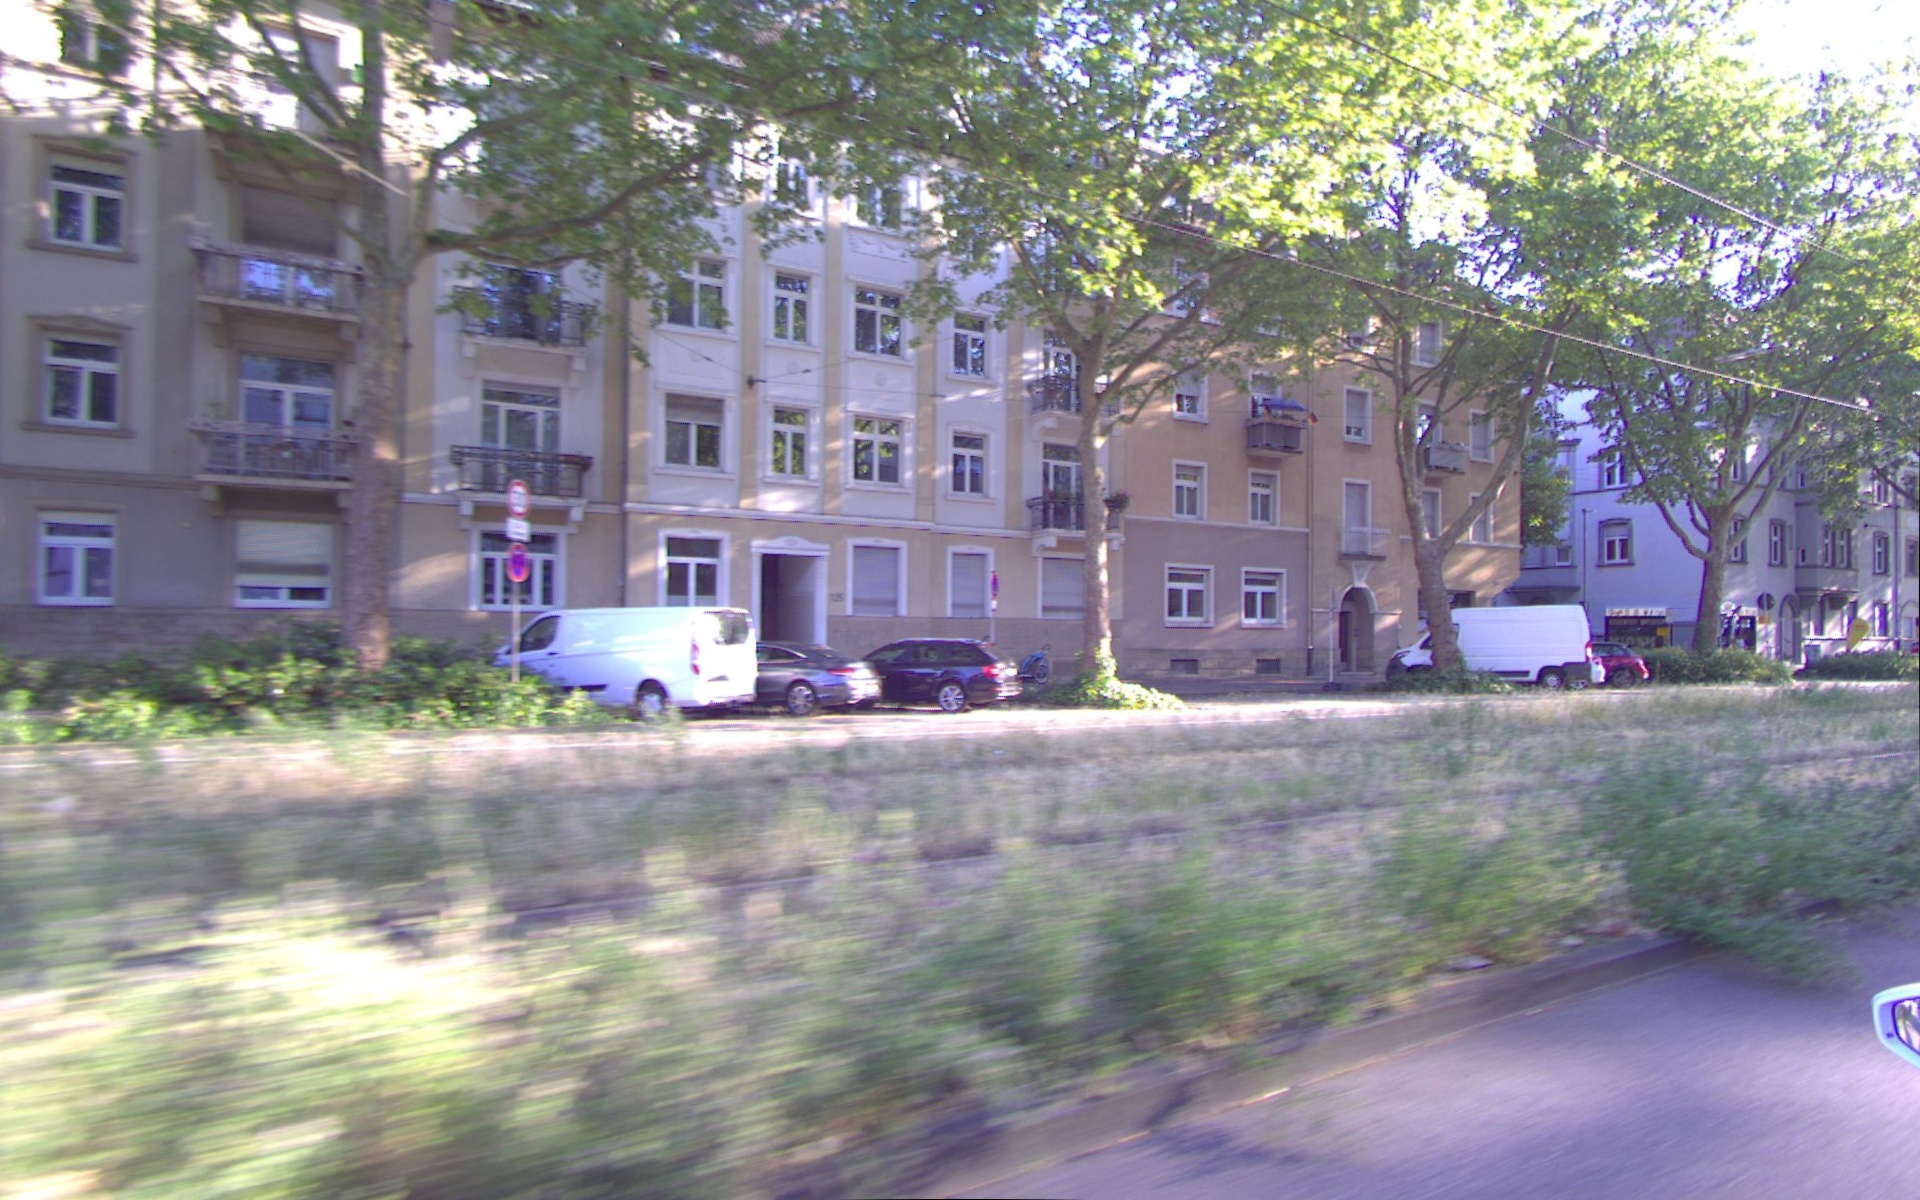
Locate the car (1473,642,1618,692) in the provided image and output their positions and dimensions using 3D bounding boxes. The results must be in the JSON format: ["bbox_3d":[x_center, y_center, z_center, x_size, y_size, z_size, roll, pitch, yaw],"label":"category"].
[{"bbox_3d":[18.139,2.058,31.307,3.637,1.418,1.736,0,-2,20],"label":"car"}]

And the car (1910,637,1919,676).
[{"bbox_3d":[49.233,2.812,48.859,3.924,1.906,1.999,0,-2,25],"label":"car"}]

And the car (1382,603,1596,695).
[{"bbox_3d":[15.625,1.394,30.038,5.400,2.562,2.126,0,-1,20],"label":"car"}]

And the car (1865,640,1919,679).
[{"bbox_3d":[44.099,2.742,45.724,3.923,1.746,1.784,0,-2,24],"label":"car"}]

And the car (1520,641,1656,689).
[{"bbox_3d":[20.465,2.111,32.887,3.644,1.485,1.733,-2,-3,31],"label":"car"}]

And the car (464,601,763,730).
[{"bbox_3d":[-6.257,1.102,18.128,5.143,2.093,1.722,0,-1,20],"label":"car"}]

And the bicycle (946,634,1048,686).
[{"bbox_3d":[1.078,1.682,28.540,2.924,1.409,0.739,1,-2,-28],"label":"bicycle"}]

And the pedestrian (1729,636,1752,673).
[{"bbox_3d":[38.100,2.658,49.018,0.663,1.782,0.626,1,-2,-23],"label":"pedestrian"}]

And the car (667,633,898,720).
[{"bbox_3d":[-3.438,1.427,19.534,4.094,1.511,1.722,0,-2,20],"label":"car"}]

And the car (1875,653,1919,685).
[{"bbox_3d":[46.032,3.302,47.389,3.923,1.467,1.585,0,-2,24],"label":"car"}]

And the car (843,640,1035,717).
[{"bbox_3d":[-0.419,1.587,21.088,3.655,1.440,1.722,0,-2,20],"label":"car"}]
